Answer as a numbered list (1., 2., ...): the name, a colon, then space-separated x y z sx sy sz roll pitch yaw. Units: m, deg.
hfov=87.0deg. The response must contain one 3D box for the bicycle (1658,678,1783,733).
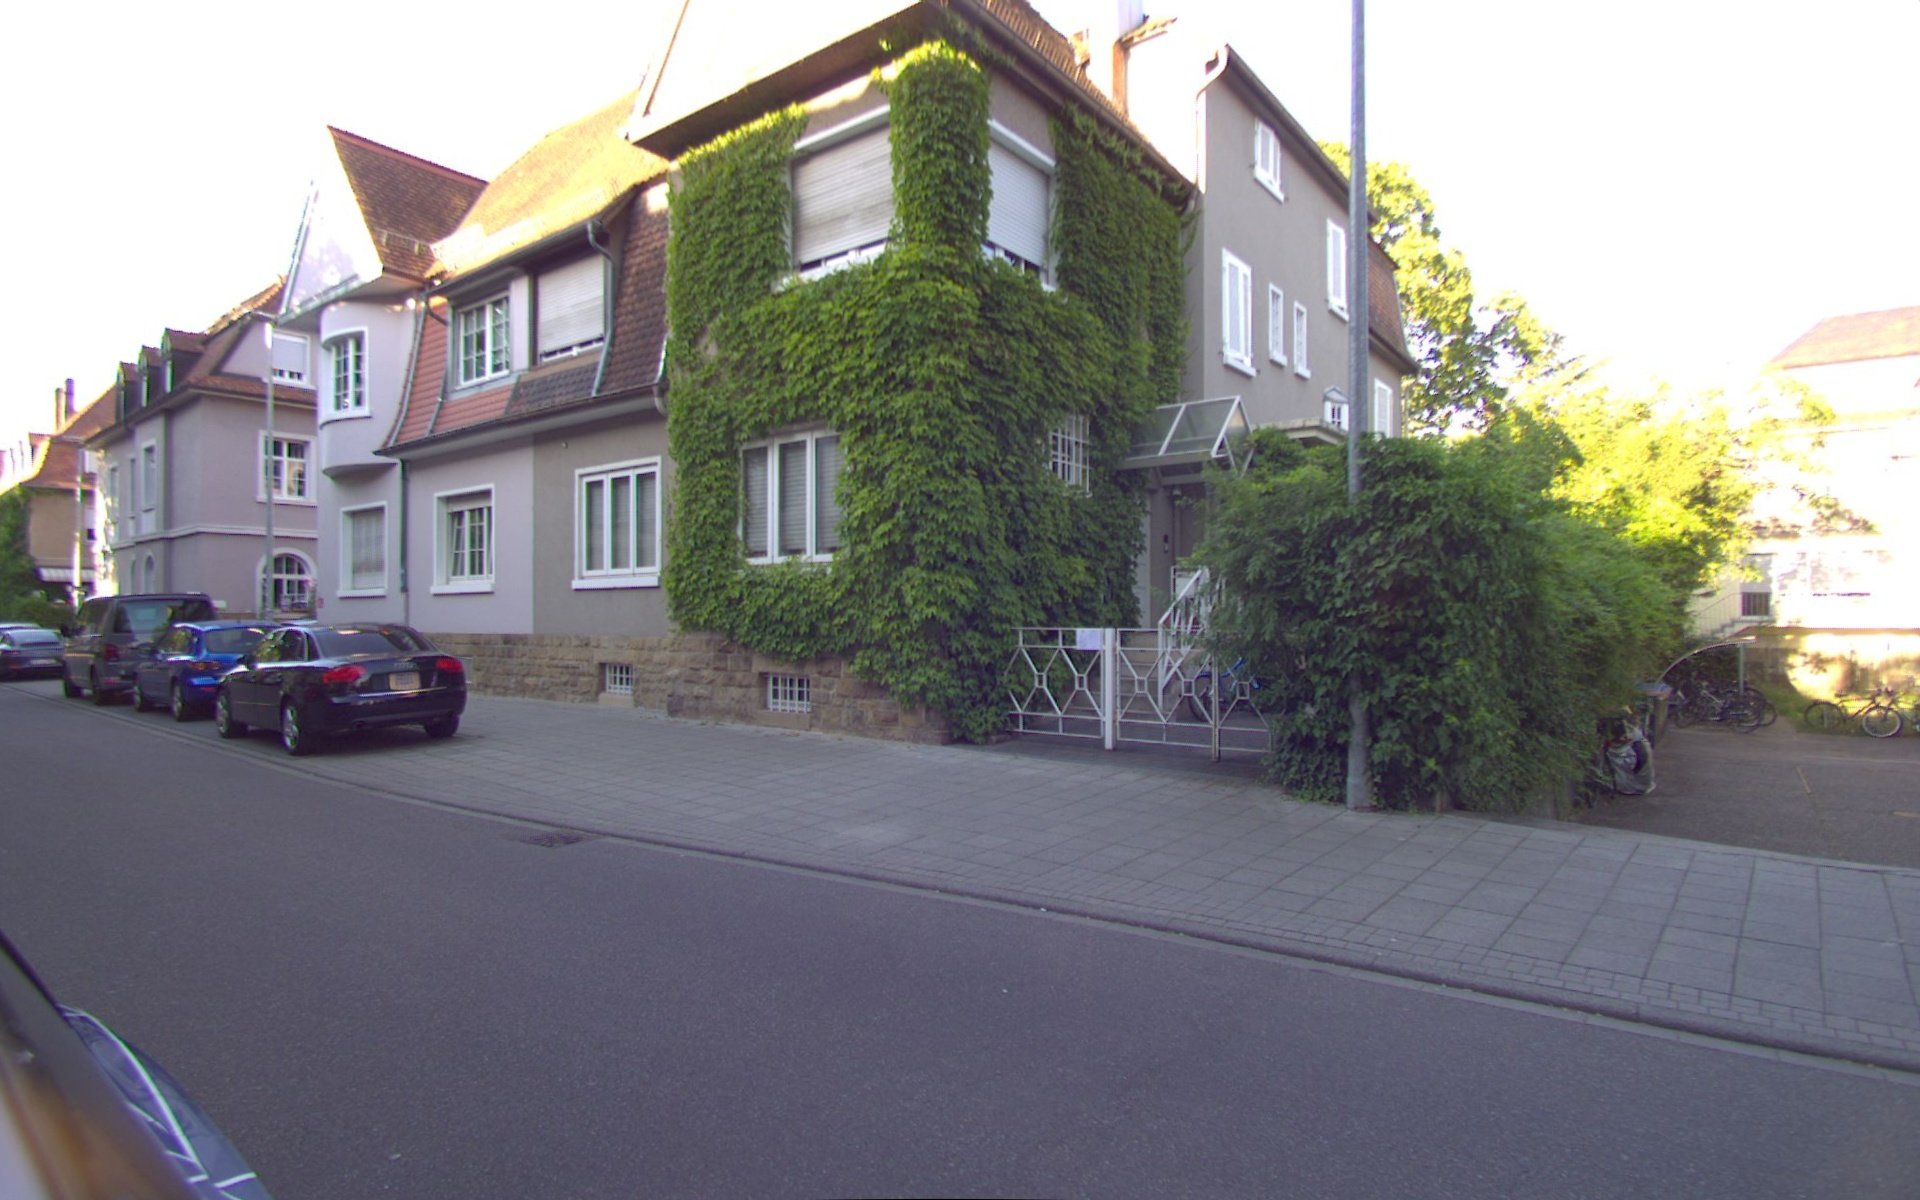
1. bicycle: 17.894 2.461 23.850 2.294 1.142 0.685 -1 -4 41

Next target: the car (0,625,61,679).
1. car: -28.554 1.541 30.355 4.061 1.478 1.907 -1 0 42

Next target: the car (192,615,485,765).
1. car: -7.729 0.969 12.405 4.425 1.457 1.783 -2 0 41

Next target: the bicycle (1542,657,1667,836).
1. bicycle: 8.524 1.744 13.256 0.970 1.907 4.139 -2 -3 38

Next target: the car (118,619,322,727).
1. car: -11.954 1.077 16.251 4.059 1.457 1.745 -2 0 41

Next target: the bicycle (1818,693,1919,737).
1. bicycle: 20.552 2.584 22.861 1.754 0.886 0.558 -1 -4 41

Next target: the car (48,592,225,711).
1. car: -15.858 0.918 19.403 4.609 1.990 1.819 -2 0 41

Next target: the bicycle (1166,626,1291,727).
1. bicycle: 3.400 0.912 12.667 0.476 1.111 2.172 -2 -1 45

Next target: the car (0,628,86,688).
1. car: -24.523 1.474 26.641 4.063 1.394 1.906 -1 0 44

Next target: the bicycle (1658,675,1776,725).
1. bicycle: 19.154 2.505 25.648 2.337 1.142 0.685 -1 -4 41

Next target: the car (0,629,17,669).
1. car: -34.730 1.742 35.802 3.675 1.372 1.641 -1 0 42

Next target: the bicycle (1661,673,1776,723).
1. bicycle: 19.698 2.523 26.320 2.337 1.186 0.685 -1 -4 41

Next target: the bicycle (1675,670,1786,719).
1. bicycle: 20.837 2.533 27.392 2.337 1.186 0.685 -1 -4 41

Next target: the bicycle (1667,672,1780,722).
1. bicycle: 20.254 2.555 26.891 2.337 1.186 0.685 -1 -4 41

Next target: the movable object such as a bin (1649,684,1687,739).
1. movable object such as a bin: 15.311 2.396 21.883 0.611 1.123 0.792 -2 -4 37
